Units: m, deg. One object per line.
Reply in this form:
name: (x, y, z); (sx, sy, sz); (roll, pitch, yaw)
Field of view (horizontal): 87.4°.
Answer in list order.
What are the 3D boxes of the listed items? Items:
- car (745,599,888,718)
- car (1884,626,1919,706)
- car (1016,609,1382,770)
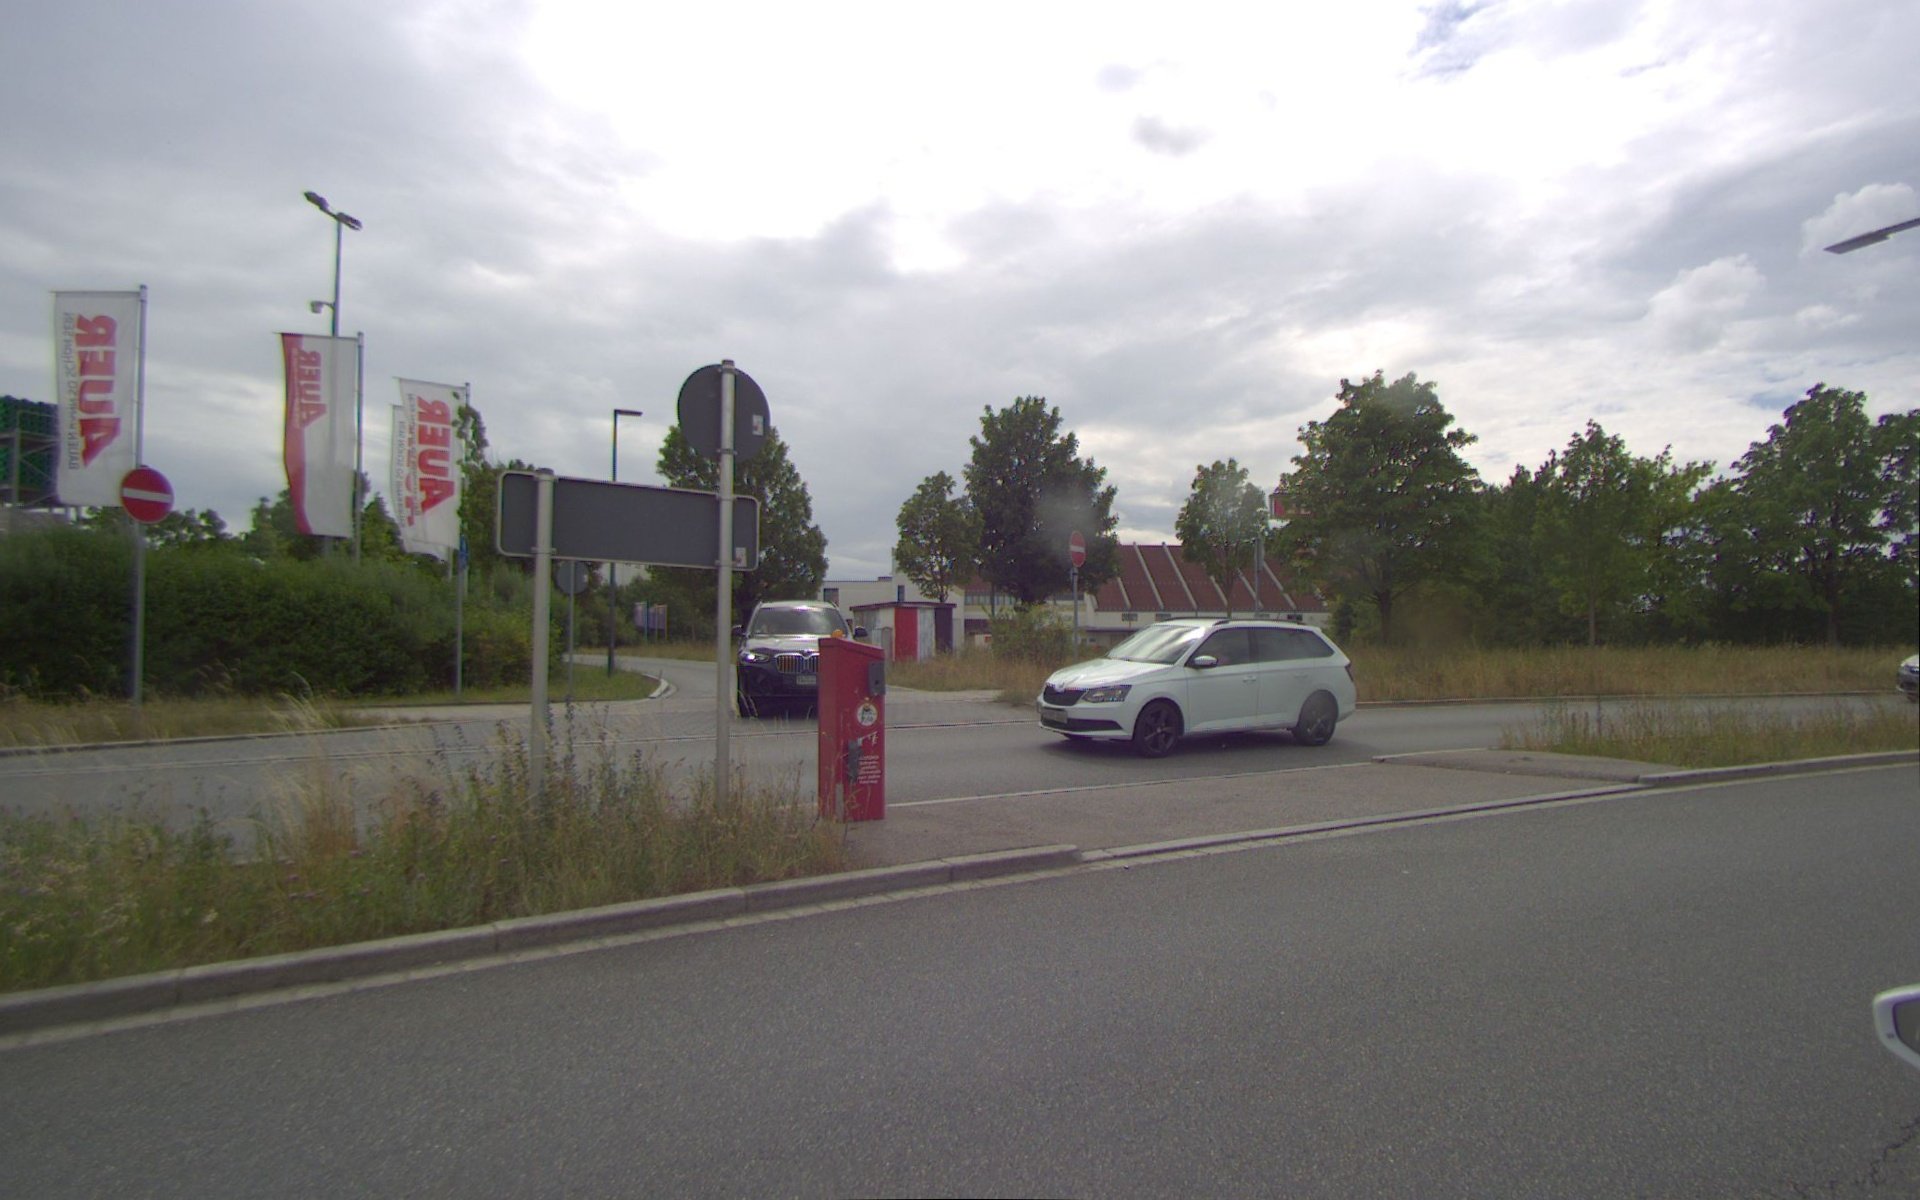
car: (-2.358, 0.851, 15.565); (1.841, 1.570, 4.245); (1, -2, -13)
car: (20.110, 1.282, 19.225); (4.023, 1.505, 1.461); (1, -2, -11)
car: (2.934, 0.982, 12.162); (4.213, 1.656, 1.708); (1, 0, -27)
